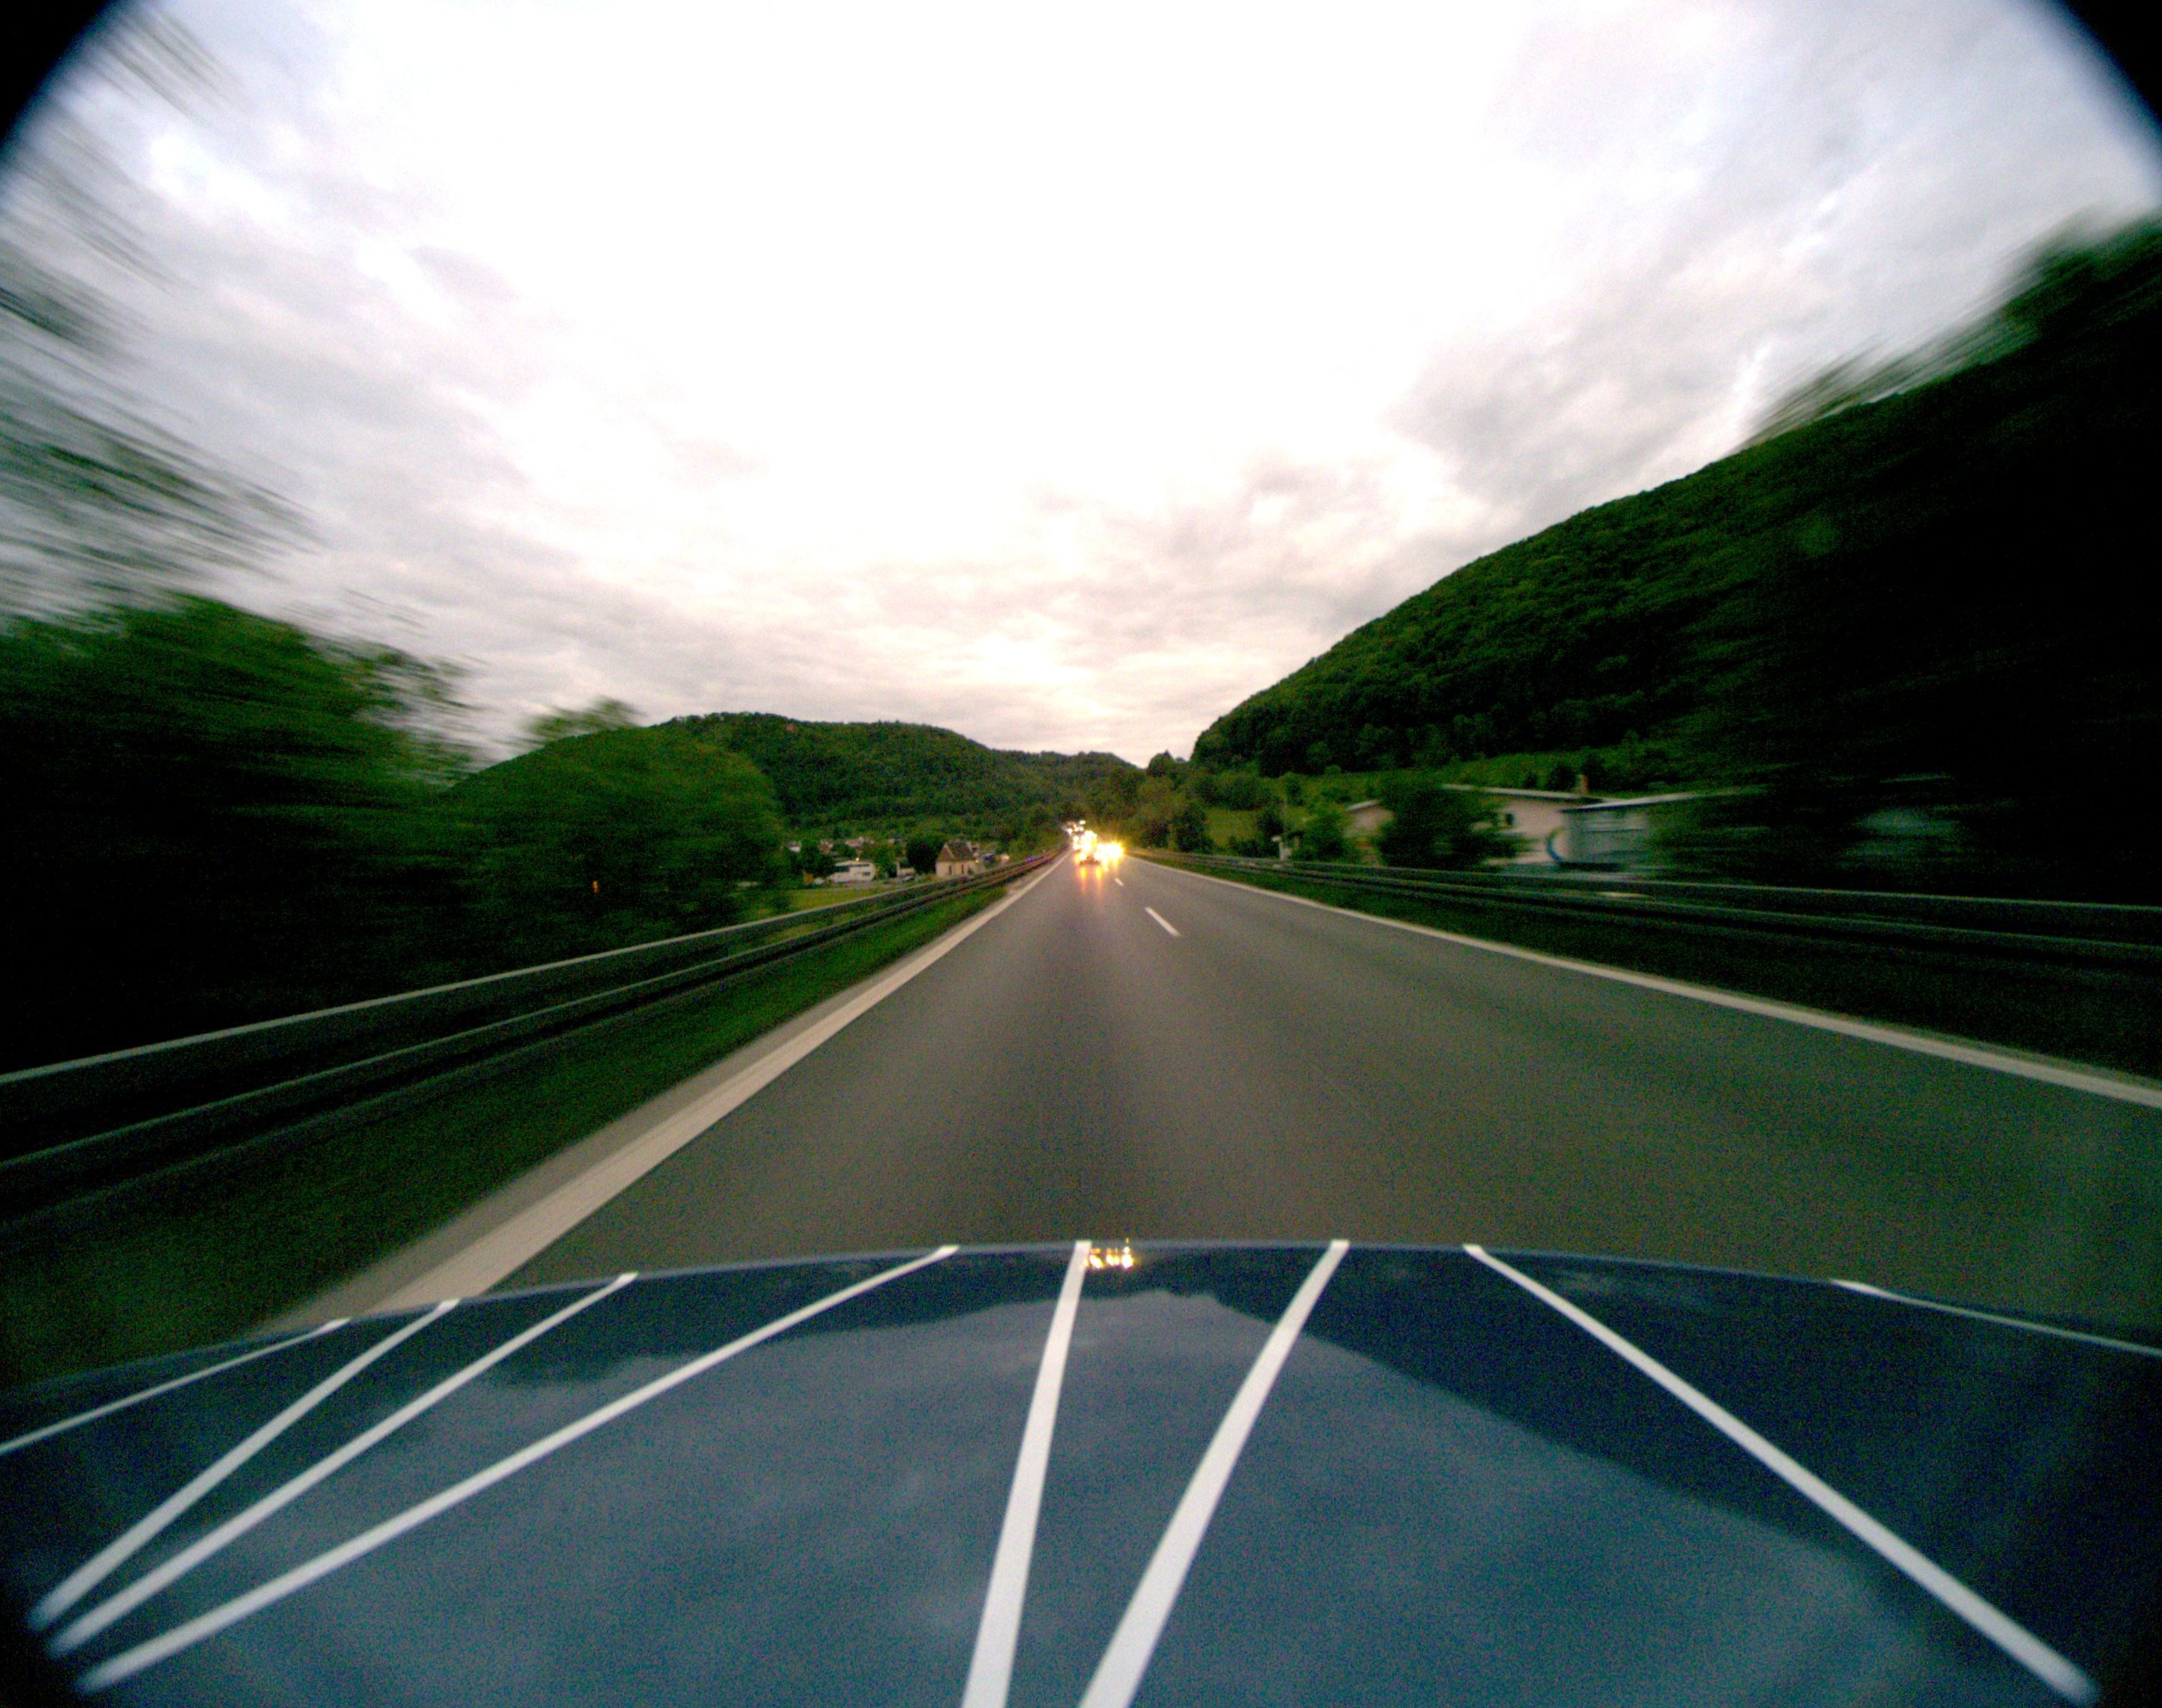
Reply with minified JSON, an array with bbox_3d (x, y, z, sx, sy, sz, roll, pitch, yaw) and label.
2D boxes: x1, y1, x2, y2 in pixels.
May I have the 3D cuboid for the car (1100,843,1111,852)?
[{"bbox_3d":[4.218,-1.147,130.937,1.690,1.424,3.670,-1,-2,0],"label":"car"}]

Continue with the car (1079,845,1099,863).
[{"bbox_3d":[0.696,0.034,67.563,1.690,1.443,3.670,-1,-2,0],"label":"car"}]

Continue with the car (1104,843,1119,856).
[{"bbox_3d":[3.919,-0.563,98.036,1.690,1.459,3.768,-1,-2,-1],"label":"car"}]

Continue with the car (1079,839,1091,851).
[{"bbox_3d":[0.601,-1.405,120.051,1.737,1.641,3.670,-1,-2,0],"label":"car"}]
